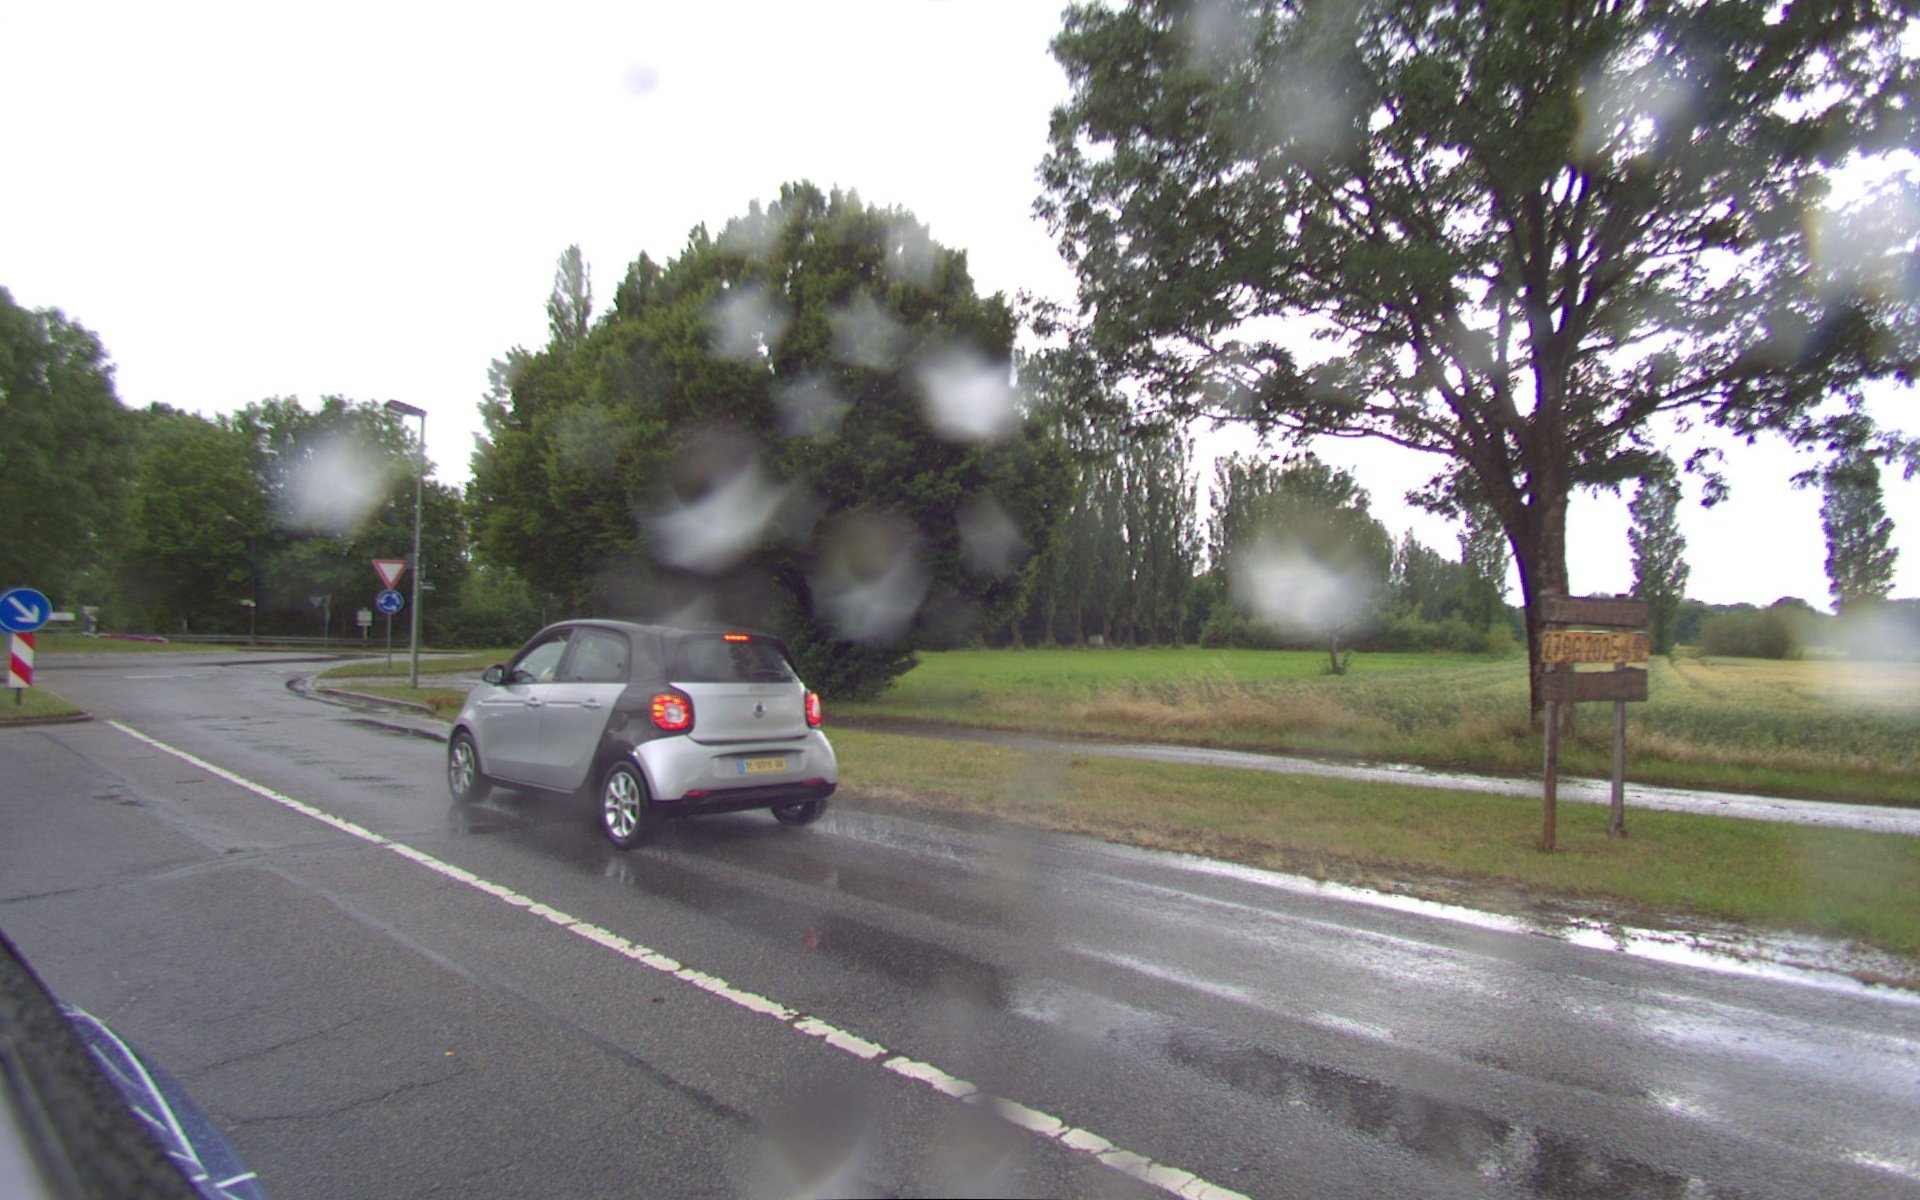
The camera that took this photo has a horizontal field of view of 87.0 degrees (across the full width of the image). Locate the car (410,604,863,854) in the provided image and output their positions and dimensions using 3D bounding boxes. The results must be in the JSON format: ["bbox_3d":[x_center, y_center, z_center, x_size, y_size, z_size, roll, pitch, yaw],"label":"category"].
[{"bbox_3d":[-2.681,0.858,8.002,3.732,1.510,1.658,-1,-4,41],"label":"car"}]
